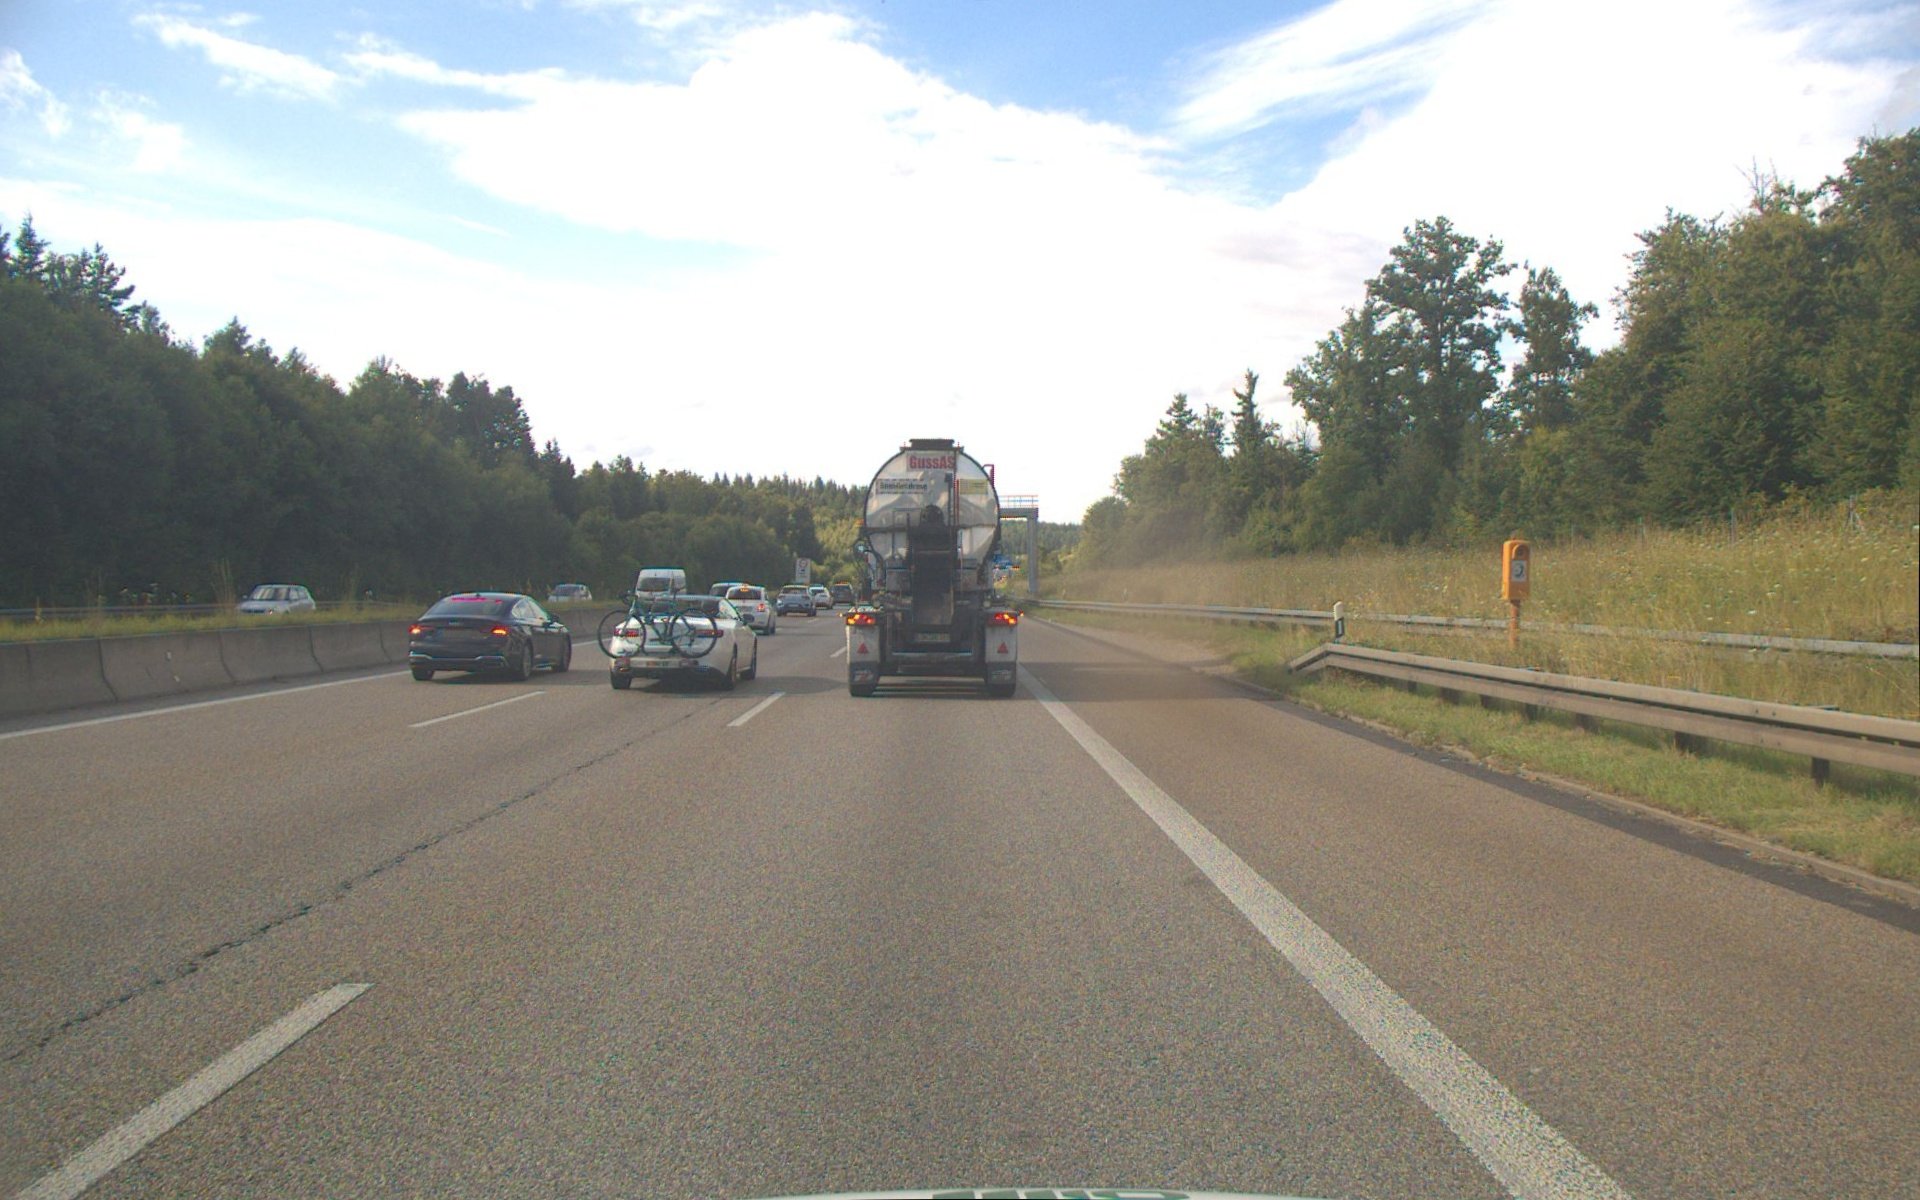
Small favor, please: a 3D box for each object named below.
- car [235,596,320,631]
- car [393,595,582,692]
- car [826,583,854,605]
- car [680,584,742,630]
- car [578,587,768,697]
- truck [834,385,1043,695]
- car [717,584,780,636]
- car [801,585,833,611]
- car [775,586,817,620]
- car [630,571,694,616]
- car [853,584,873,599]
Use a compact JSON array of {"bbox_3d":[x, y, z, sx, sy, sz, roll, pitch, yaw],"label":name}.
[{"bbox_3d":[-22.858,0.445,55.504,1.559,1.113,3.172,0,0,-1],"label":"car"},{"bbox_3d":[-7.731,0.647,27.547,1.818,1.456,4.840,0,0,-1],"label":"car"},{"bbox_3d":[-9.227,-0.472,127.004,1.903,1.613,4.206,1,1,-1],"label":"car"},{"bbox_3d":[-9.332,0.238,62.231,1.770,1.613,4.206,1,1,-1],"label":"car"},{"bbox_3d":[-4.309,0.565,25.765,2.018,1.525,5.735,0,0,-1],"label":"car"},{"bbox_3d":[-0.341,-0.865,28.176,2.853,4.230,11.268,0,0,-1],"label":"truck"},{"bbox_3d":[-6.689,0.298,52.560,1.585,1.571,3.519,1,0,-1],"label":"car"},{"bbox_3d":[-9.340,-0.160,108.163,1.770,1.613,4.206,1,1,-1],"label":"car"},{"bbox_3d":[-8.260,0.108,83.542,1.770,1.613,4.206,1,1,-1],"label":"car"},{"bbox_3d":[-16.345,-0.357,91.038,2.526,2.387,5.828,0,0,-1],"label":"car"},{"bbox_3d":[-9.992,-0.858,170.549,1.903,1.482,4.206,1,1,-1],"label":"car"}]
